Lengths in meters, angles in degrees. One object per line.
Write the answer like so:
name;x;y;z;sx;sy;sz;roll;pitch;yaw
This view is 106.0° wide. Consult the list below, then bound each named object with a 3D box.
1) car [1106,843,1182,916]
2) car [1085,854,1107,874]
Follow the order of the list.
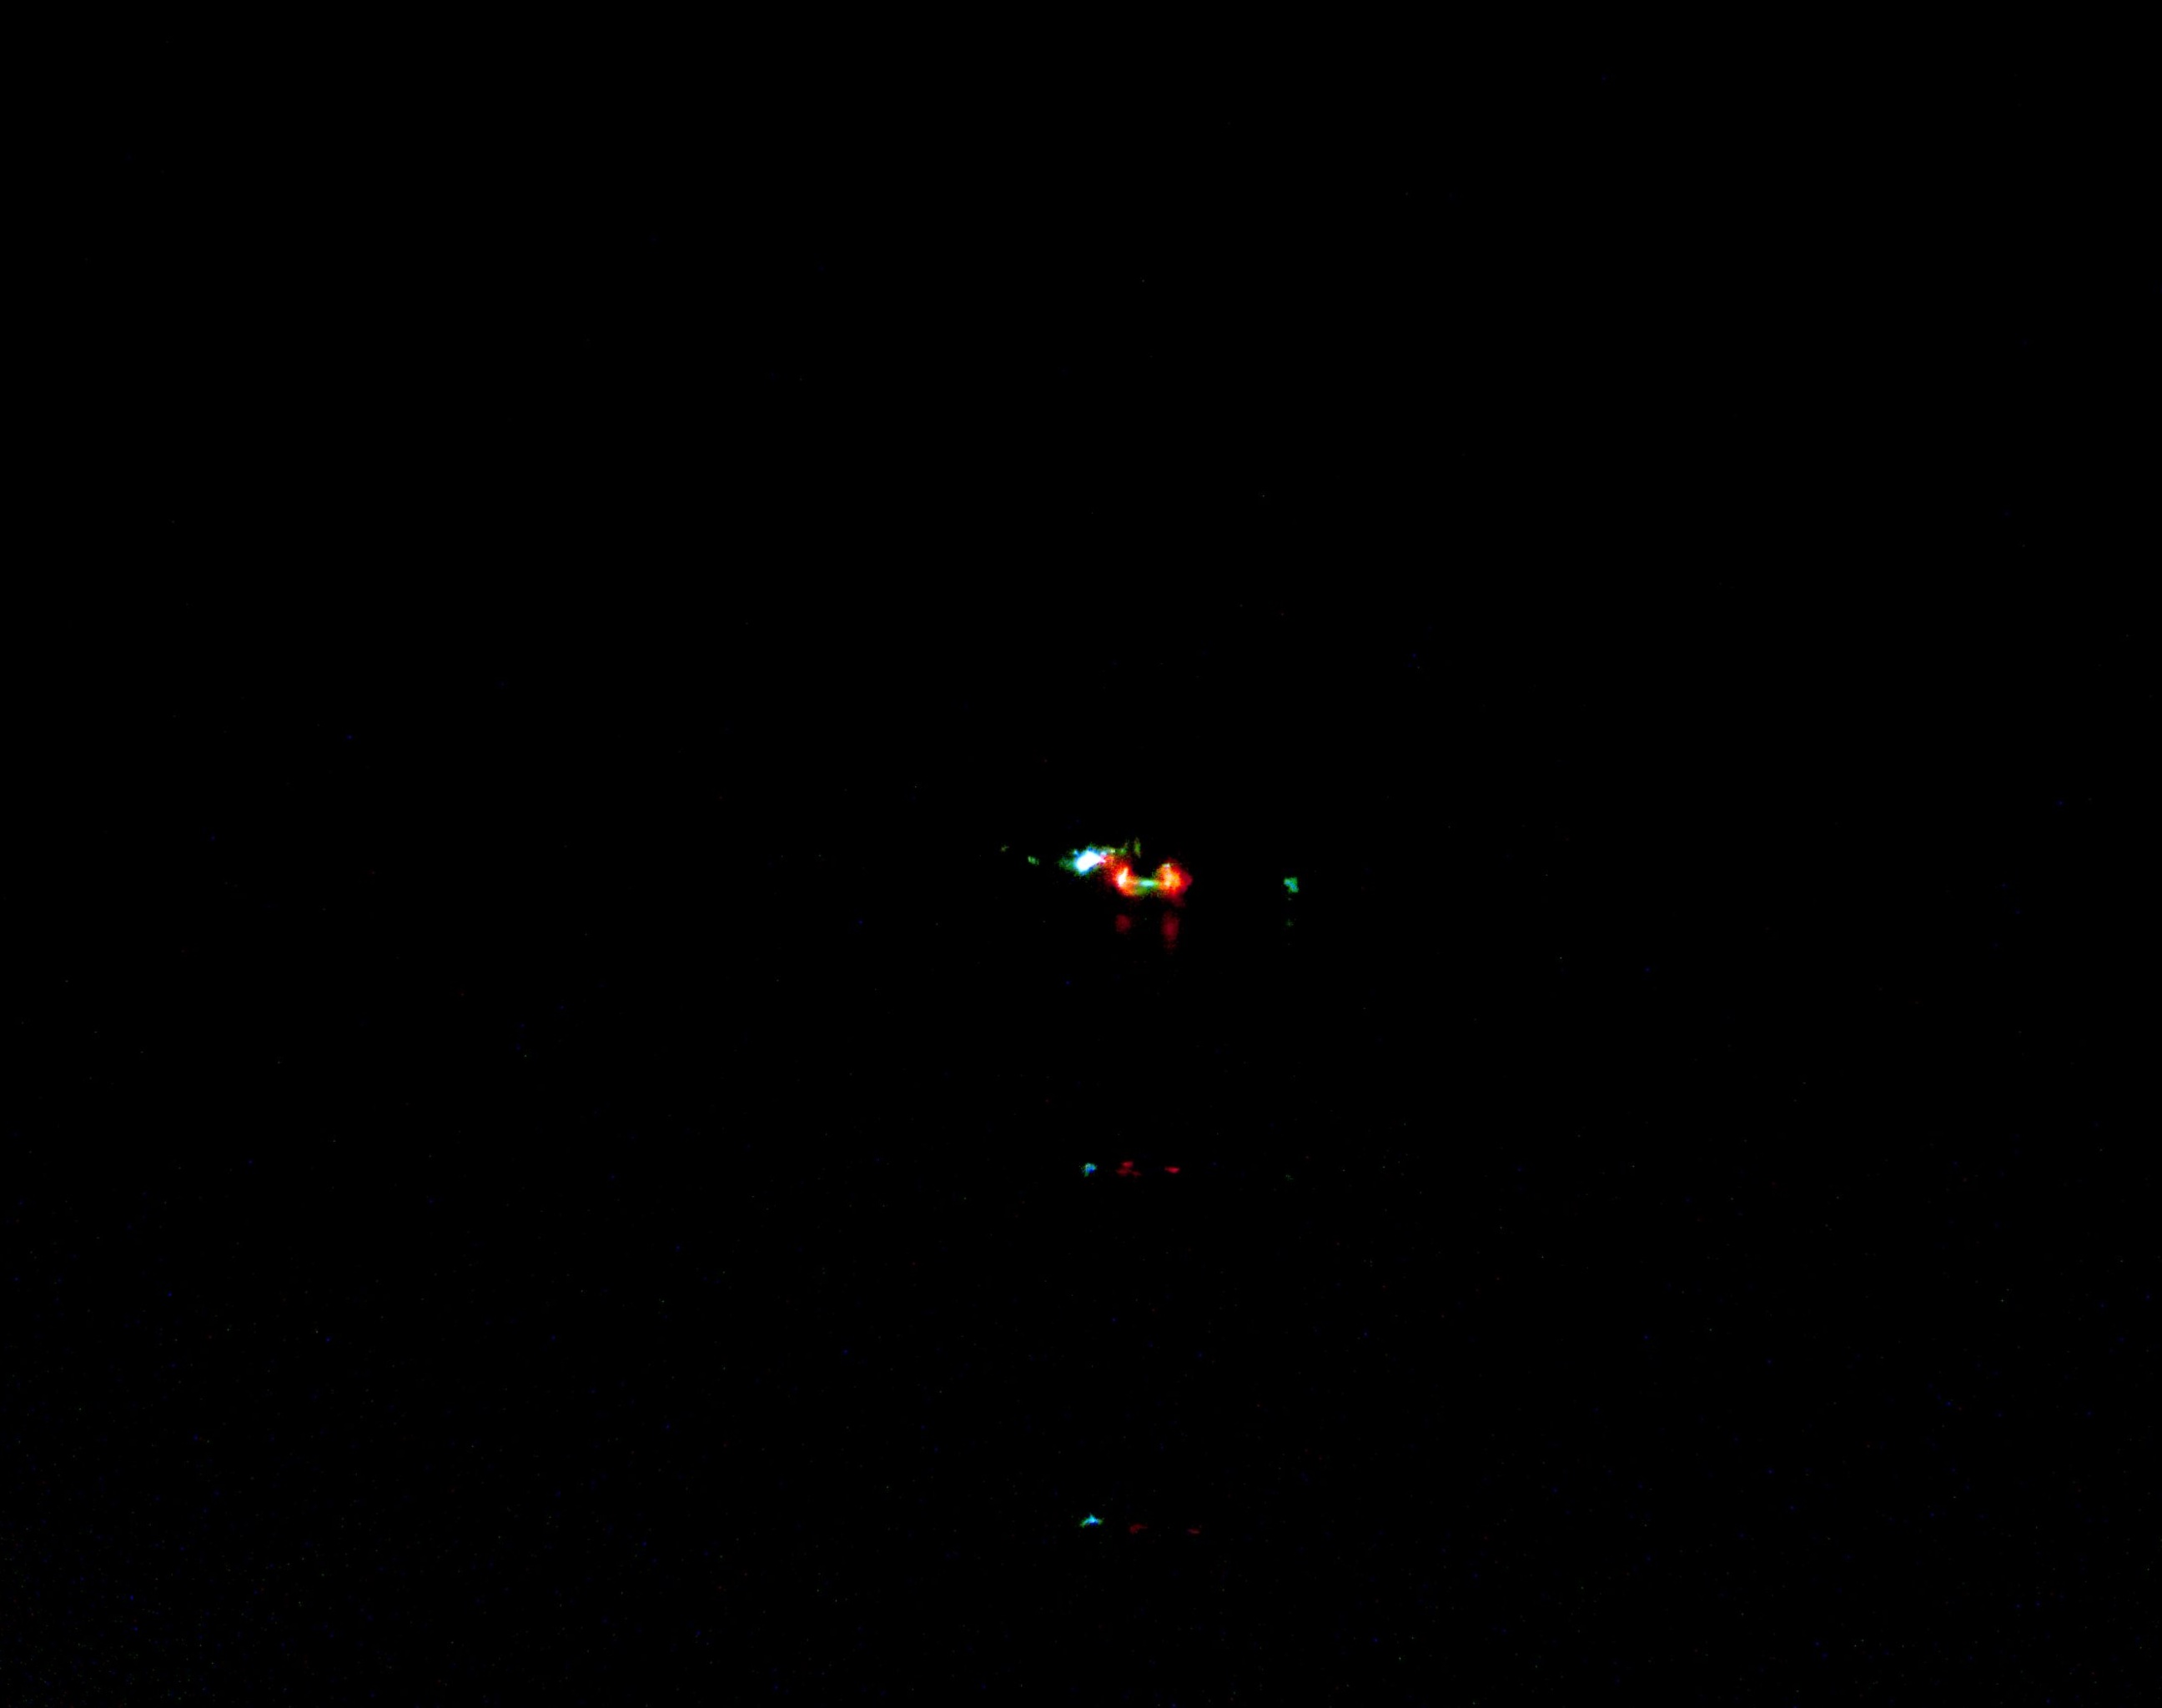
car;1.822;0.703;24.489;2.085;2.013;4.002;-1;0;2
car;1.285;0.822;69.041;1.802;1.621;4.001;-1;0;1
